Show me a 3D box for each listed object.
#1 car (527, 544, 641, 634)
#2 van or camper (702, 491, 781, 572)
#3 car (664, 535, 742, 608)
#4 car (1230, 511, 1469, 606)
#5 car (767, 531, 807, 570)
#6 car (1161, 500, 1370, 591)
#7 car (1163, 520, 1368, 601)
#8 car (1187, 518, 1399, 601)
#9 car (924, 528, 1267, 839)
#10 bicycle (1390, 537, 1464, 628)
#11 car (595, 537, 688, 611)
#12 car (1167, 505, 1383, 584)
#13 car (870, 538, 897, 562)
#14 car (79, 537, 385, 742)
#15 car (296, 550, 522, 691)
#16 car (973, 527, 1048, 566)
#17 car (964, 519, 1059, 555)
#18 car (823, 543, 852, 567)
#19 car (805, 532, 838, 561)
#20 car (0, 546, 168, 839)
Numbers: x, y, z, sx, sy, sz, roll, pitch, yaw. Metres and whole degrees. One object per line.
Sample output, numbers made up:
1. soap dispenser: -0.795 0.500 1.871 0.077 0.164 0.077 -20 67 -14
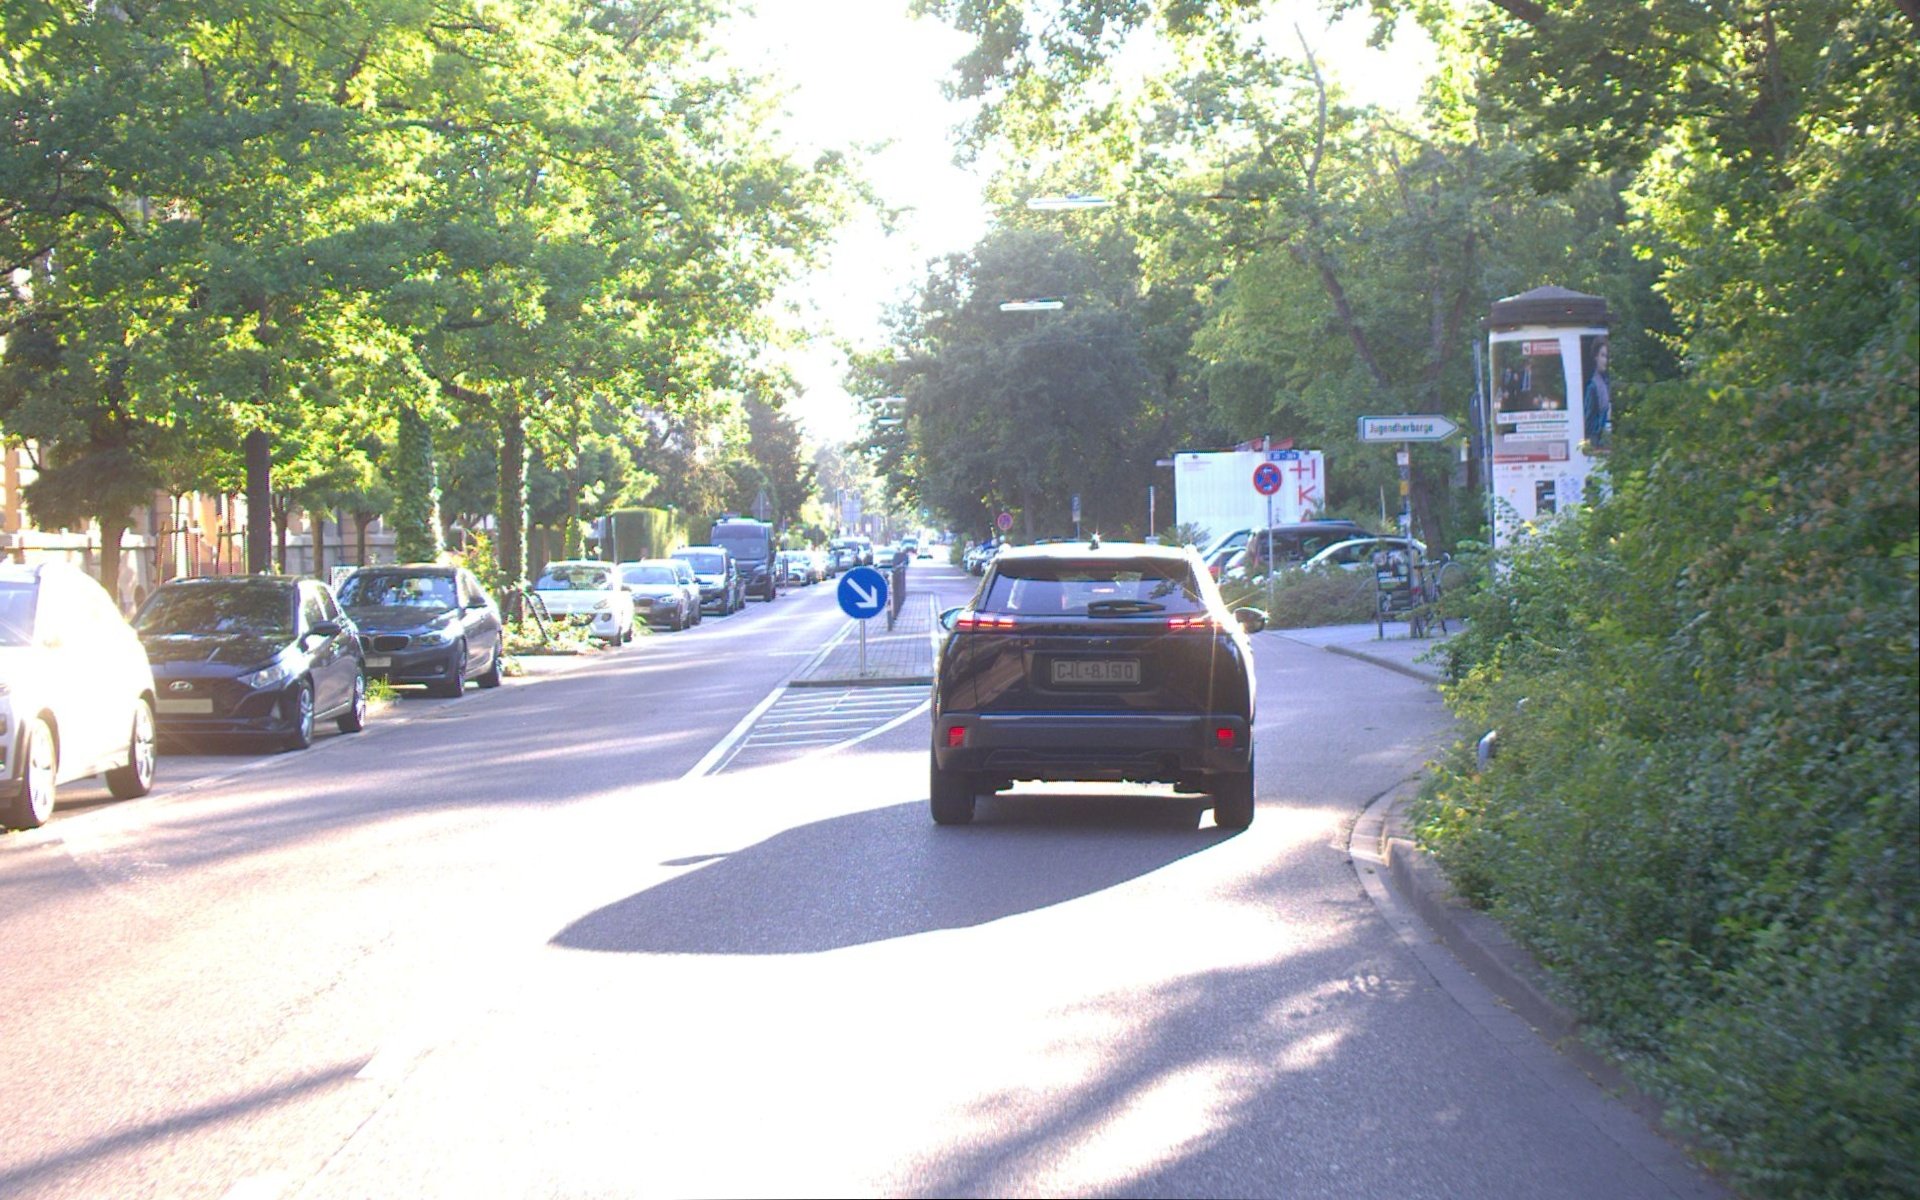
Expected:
1. car: -6.641 -0.217 60.994 1.617 1.491 3.925 -1 1 -1
2. van or camper: -7.013 -2.215 111.036 2.229 2.535 7.080 0 1 -1
3. car: -6.806 -0.785 91.335 1.777 1.859 4.333 1 1 0
4. car: 7.601 -0.819 67.361 4.363 1.548 1.727 -4 1 -1
5. car: -7.344 -2.112 146.224 1.613 1.510 3.712 -4 1 -2
6. car: 7.545 -1.348 85.234 4.852 1.909 1.916 -4 1 -1
7. car: 6.912 -0.903 78.117 4.363 1.532 1.921 -4 1 -1
8. car: 7.286 -0.900 75.520 4.363 1.532 1.921 -4 1 -1
9. car: 0.686 0.392 19.928 1.771 1.563 4.109 -1 2 -1
10. bicycle: 6.667 -0.260 48.998 0.493 1.144 2.283 -4 2 20
11. car: -6.802 -0.577 73.673 1.617 1.491 4.378 -1 1 -1
12. car: 7.574 -1.350 82.915 4.926 1.548 1.916 -4 1 -1
13. car: -5.024 -3.294 226.146 1.741 1.453 4.624 -2 1 -1
14. car: -6.181 0.278 29.628 1.780 1.610 4.147 -1 1 -1
15. car: -6.376 0.189 40.254 1.802 1.505 4.863 -1 1 0
16. car: 2.830 -3.037 193.483 3.986 2.082 1.758 -1 1 -5
17. car: 2.413 -2.970 161.726 4.242 1.444 2.022 -3 1 -3
18. car: -8.357 -3.097 234.530 1.899 1.568 4.000 -1 1 -1
19. car: -7.622 -2.957 189.341 1.752 1.409 3.765 -4 2 -2
20. car: -6.254 0.512 21.162 1.803 1.610 4.147 -2 1 -1
